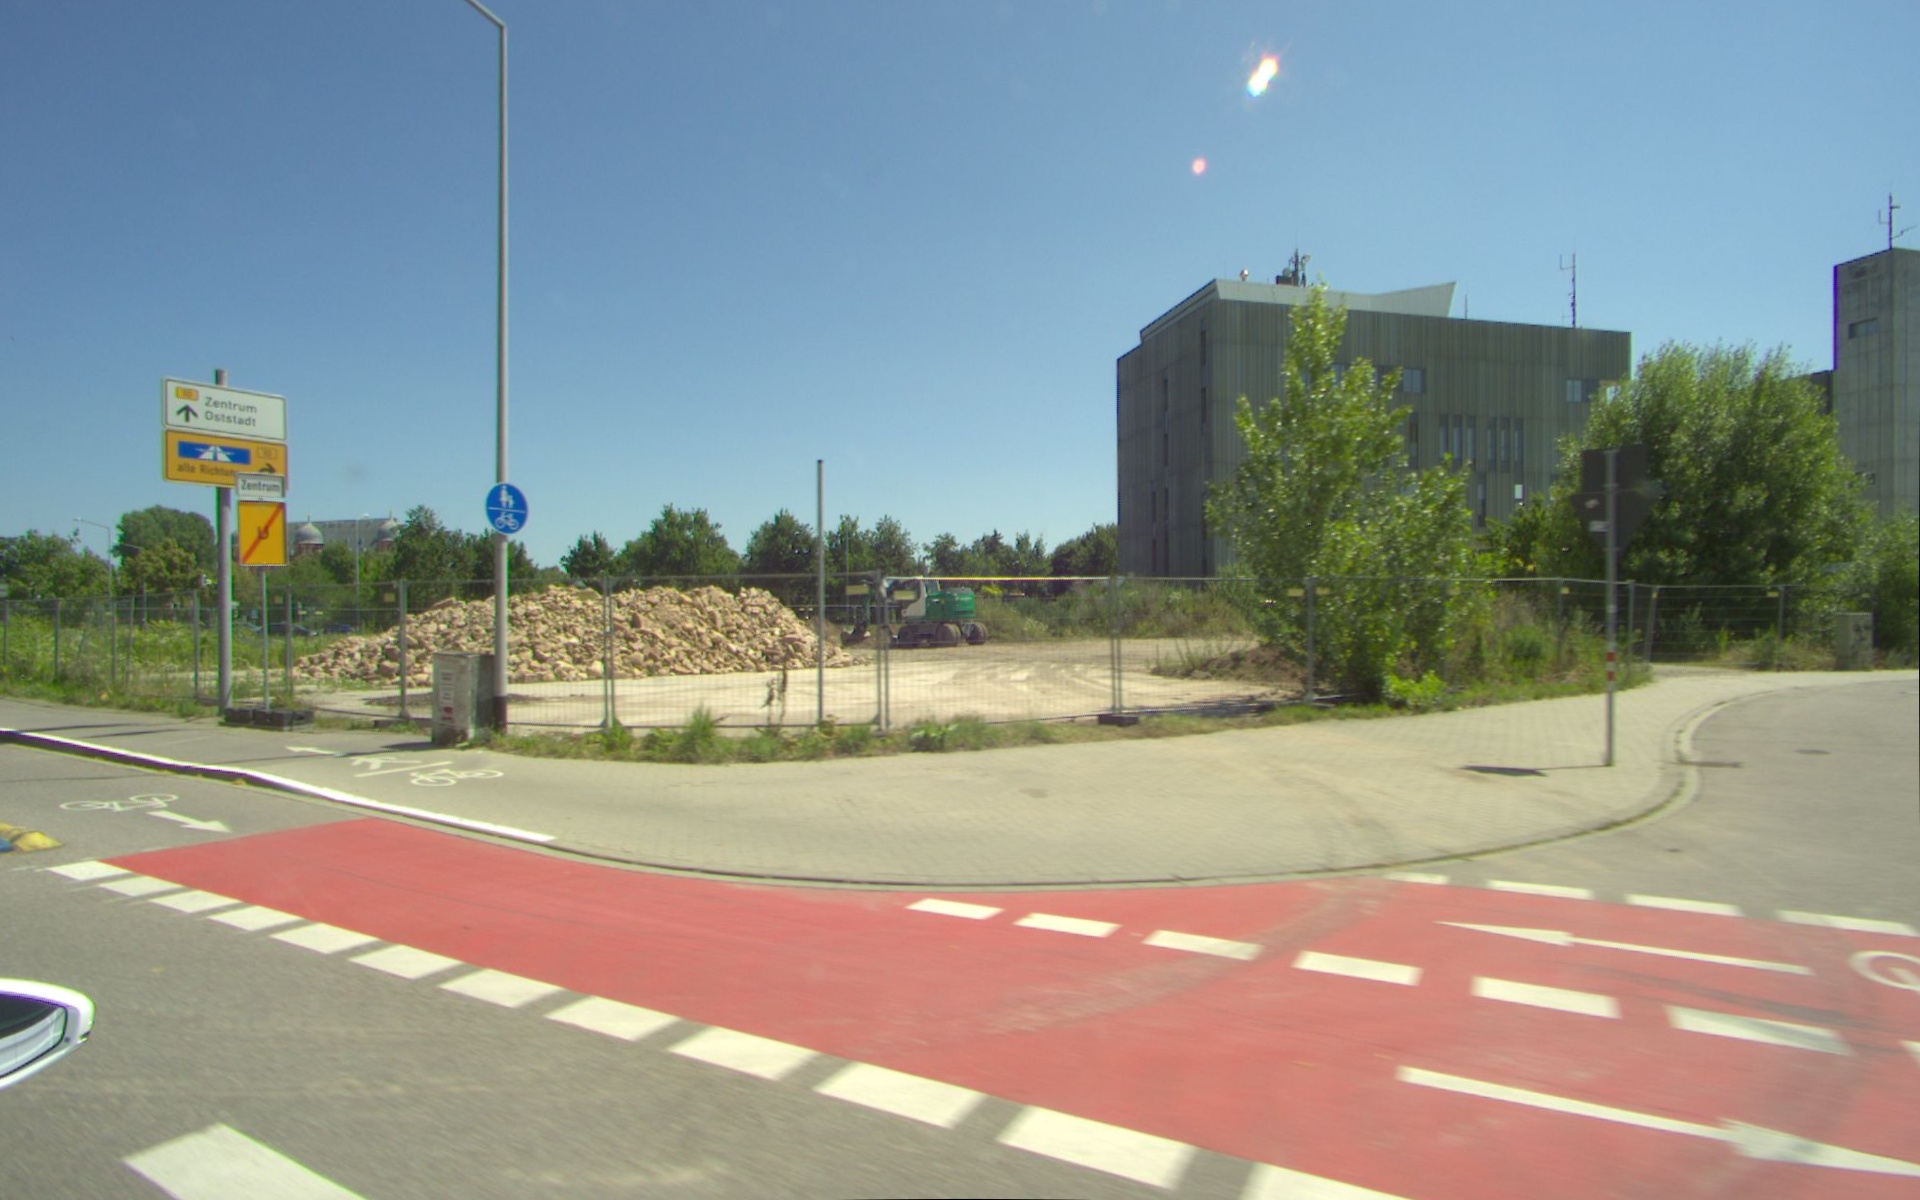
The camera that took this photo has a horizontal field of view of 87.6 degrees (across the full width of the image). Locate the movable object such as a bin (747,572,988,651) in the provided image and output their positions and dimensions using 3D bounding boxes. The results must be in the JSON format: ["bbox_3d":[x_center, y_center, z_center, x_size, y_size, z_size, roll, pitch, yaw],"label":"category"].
[{"bbox_3d":[-4.365,0.568,46.373,10.319,3.303,4.929,-1,-1,32],"label":"movable object such as a bin"}]
